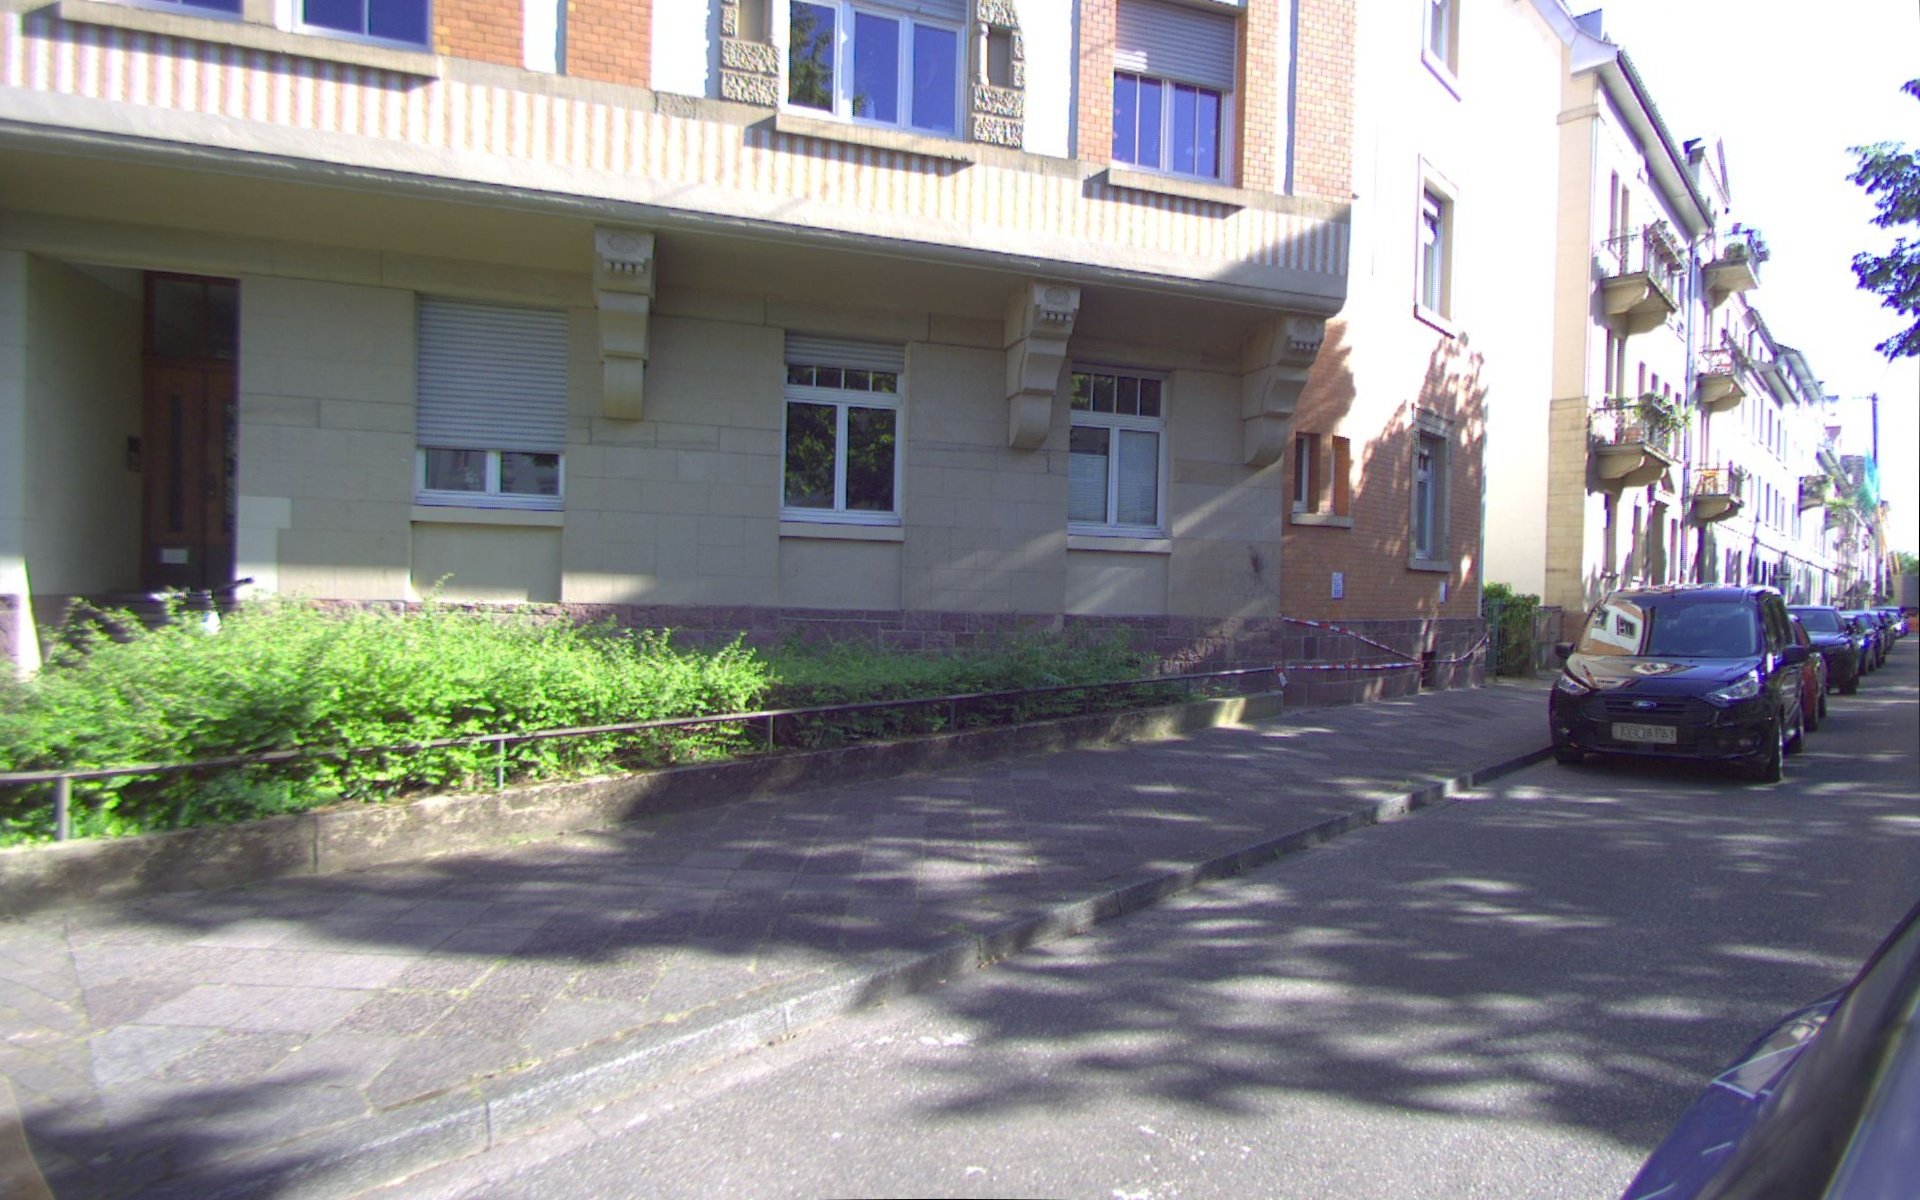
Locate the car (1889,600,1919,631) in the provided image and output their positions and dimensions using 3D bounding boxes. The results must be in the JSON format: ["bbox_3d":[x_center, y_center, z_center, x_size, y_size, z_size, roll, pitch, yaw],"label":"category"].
[{"bbox_3d":[51.016,0.808,54.207,1.600,1.511,3.902,4,3,45],"label":"car"}]

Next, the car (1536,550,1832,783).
[{"bbox_3d":[7.542,0.571,10.372,1.801,1.895,4.205,-3,-2,44],"label":"car"}]

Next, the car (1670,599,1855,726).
[{"bbox_3d":[11.541,0.791,14.461,1.645,1.557,3.936,-2,-2,44],"label":"car"}]

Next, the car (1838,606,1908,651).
[{"bbox_3d":[32.493,0.958,35.996,1.692,1.486,3.940,0,0,44],"label":"car"}]

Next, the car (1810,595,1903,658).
[{"bbox_3d":[25.229,0.696,28.438,1.805,1.583,4.253,3,2,43],"label":"car"}]

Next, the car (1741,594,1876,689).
[{"bbox_3d":[16.922,0.741,20.132,1.863,1.664,4.423,-1,-1,42],"label":"car"}]

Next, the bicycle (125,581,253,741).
[{"bbox_3d":[-5.774,0.401,7.640,0.265,1.074,1.567,1,1,-19],"label":"bicycle"}]

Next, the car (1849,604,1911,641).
[{"bbox_3d":[38.775,0.914,42.621,1.770,1.449,4.221,1,0,45],"label":"car"}]

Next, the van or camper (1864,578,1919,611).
[{"bbox_3d":[90.332,-0.487,96.291,2.349,3.039,6.047,1,1,-17],"label":"van or camper"}]

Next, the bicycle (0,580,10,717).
[{"bbox_3d":[-7.484,0.401,7.195,0.380,1.074,1.687,1,1,-19],"label":"bicycle"}]

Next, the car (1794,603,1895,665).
[{"bbox_3d":[21.848,0.783,24.962,3.572,1.433,1.591,0,-1,-44],"label":"car"}]

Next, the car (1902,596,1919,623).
[{"bbox_3d":[53.491,0.524,56.234,1.607,1.438,4.497,2,1,43],"label":"car"}]

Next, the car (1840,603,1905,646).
[{"bbox_3d":[35.637,0.912,39.498,1.767,1.571,4.117,-1,-1,44],"label":"car"}]
